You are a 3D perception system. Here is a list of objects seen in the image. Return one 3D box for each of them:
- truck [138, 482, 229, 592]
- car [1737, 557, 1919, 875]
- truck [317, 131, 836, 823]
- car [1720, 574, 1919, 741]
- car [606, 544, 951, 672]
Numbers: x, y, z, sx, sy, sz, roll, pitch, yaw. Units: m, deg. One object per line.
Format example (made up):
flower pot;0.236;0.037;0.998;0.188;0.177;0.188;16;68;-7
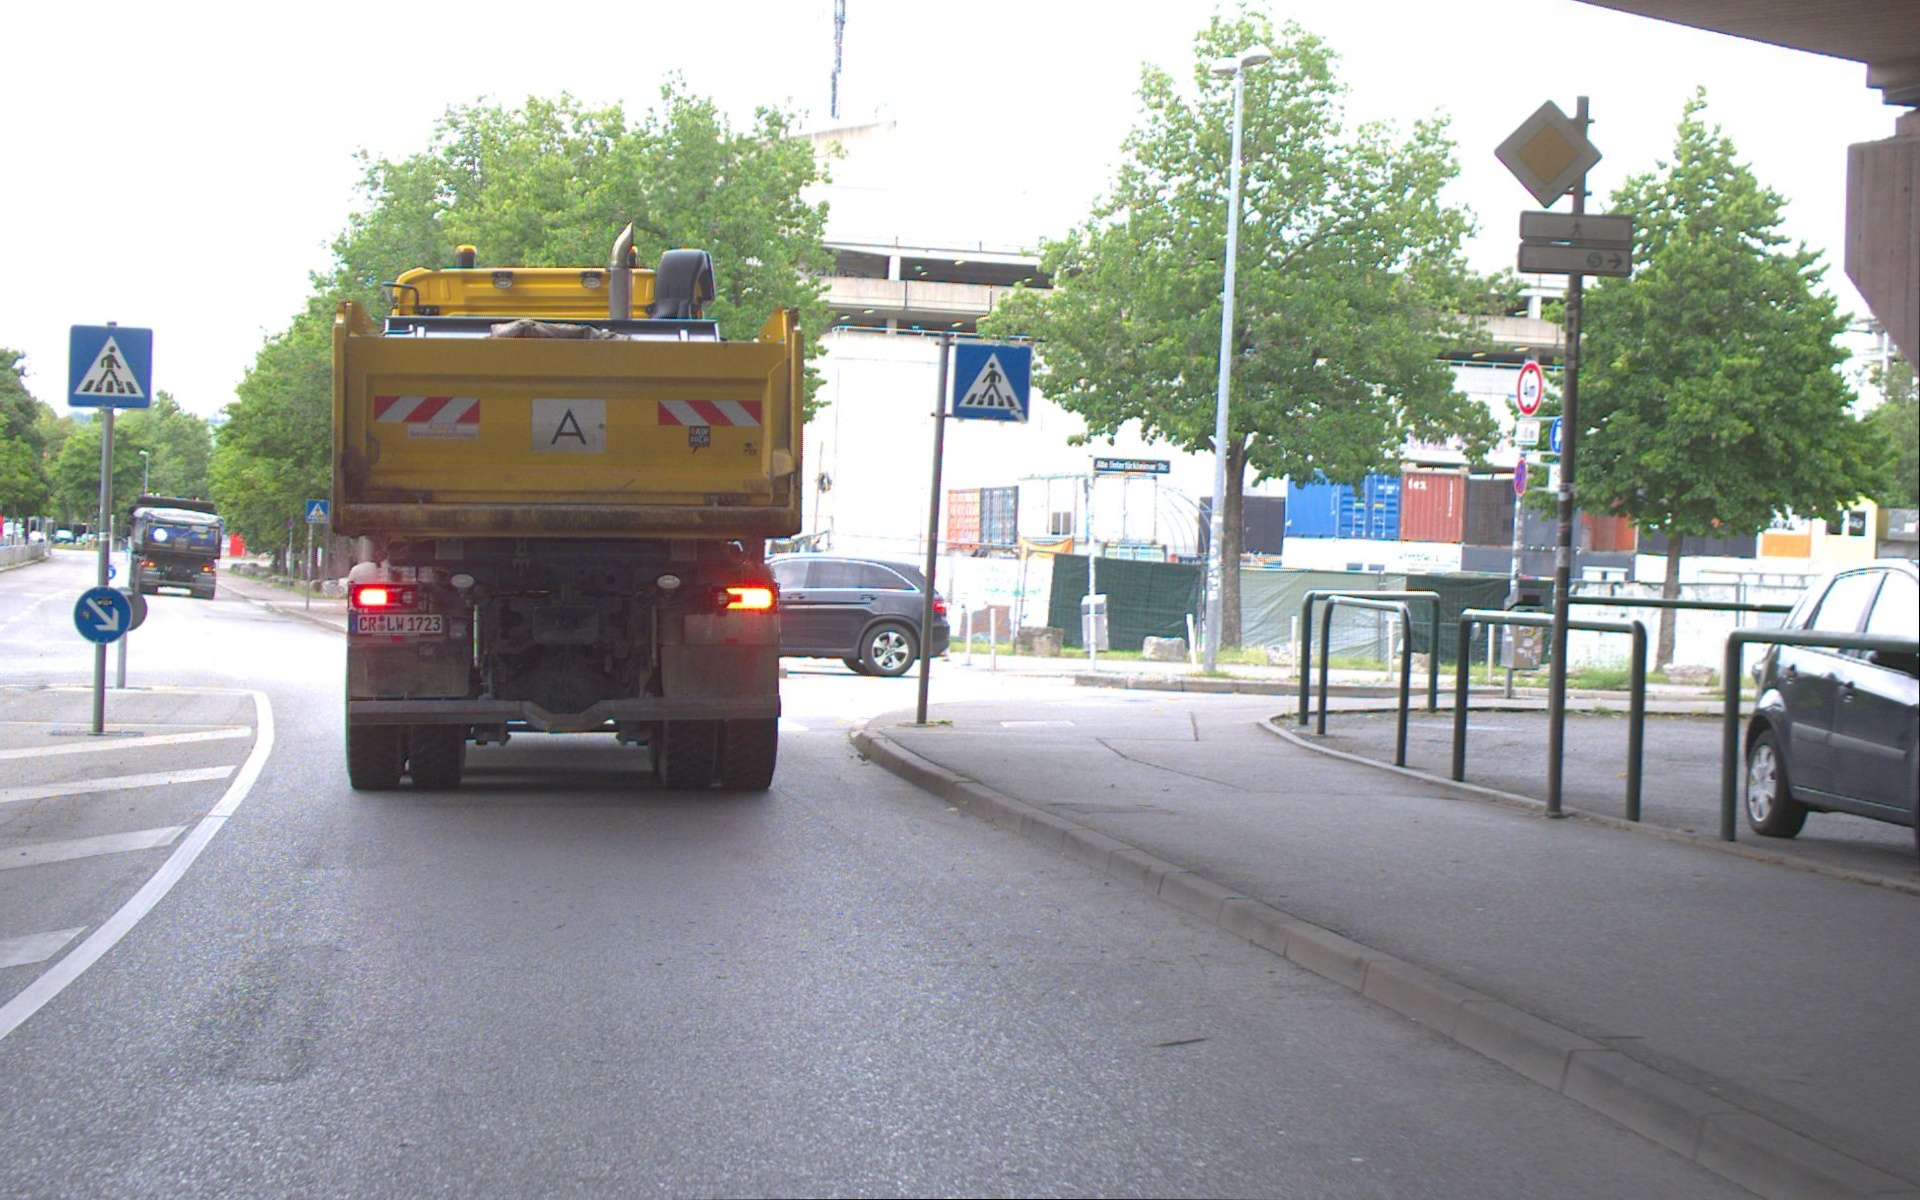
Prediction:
truck;-26.122;-2.048;115.427;2.672;3.546;7.925;0;0;-15
car;5.010;0.555;15.998;1.606;1.392;3.580;4;1;-5
truck;-2.703;-0.670;22.405;2.757;3.686;7.882;0;0;-10
car;8.651;0.529;29.809;3.686;1.325;1.511;2;1;-16
car;-2.471;0.093;46.645;4.534;1.569;1.846;2;1;-4
